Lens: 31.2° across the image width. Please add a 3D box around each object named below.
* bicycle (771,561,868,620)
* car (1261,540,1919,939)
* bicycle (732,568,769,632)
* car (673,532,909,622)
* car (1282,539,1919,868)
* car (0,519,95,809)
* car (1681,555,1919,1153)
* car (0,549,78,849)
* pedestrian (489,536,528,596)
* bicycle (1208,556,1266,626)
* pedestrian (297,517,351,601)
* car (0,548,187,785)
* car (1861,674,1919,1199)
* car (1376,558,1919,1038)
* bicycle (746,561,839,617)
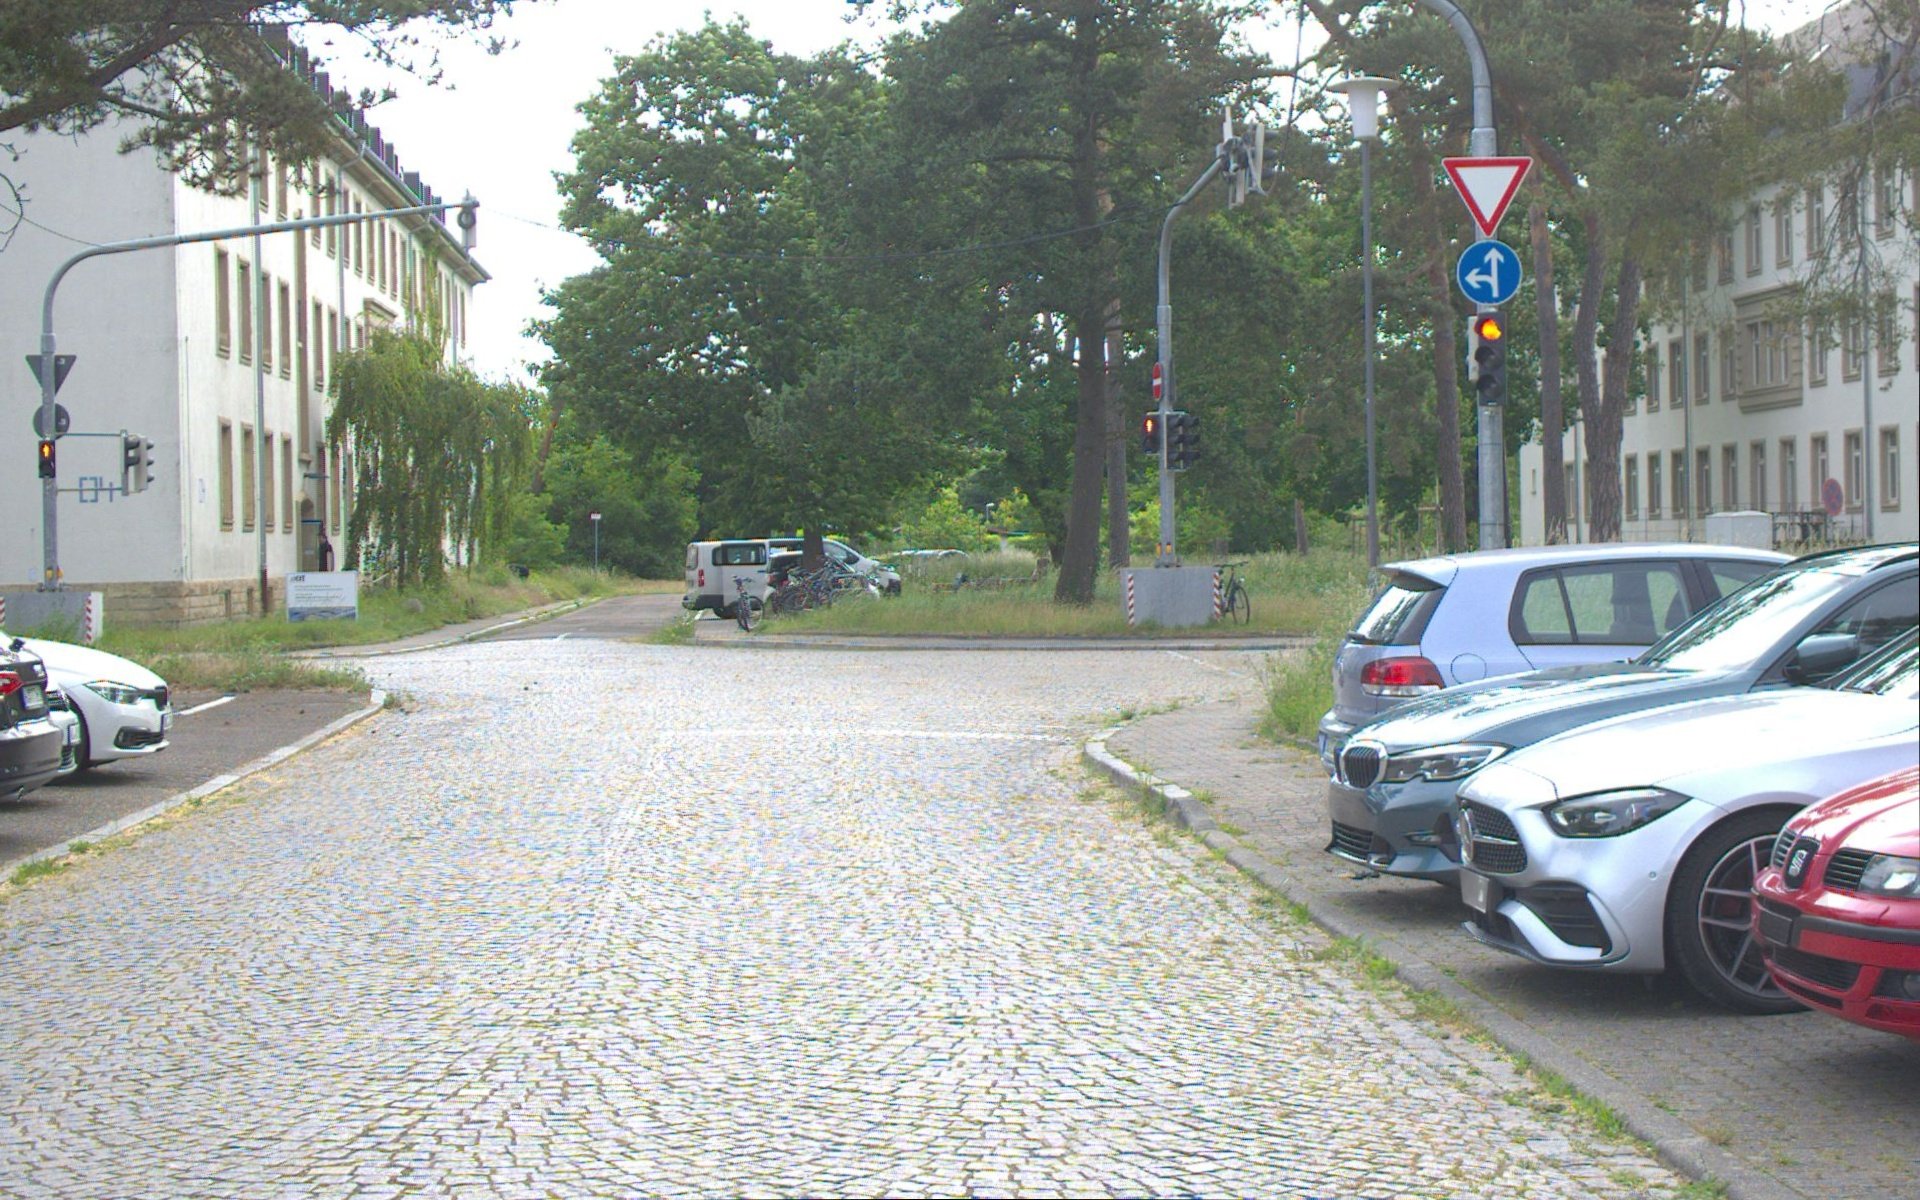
[{"bbox_3d":[-2.829,-0.191,69.106,1.881,1.167,0.665,1,0,-8],"label":"bicycle"},{"bbox_3d":[3.591,0.505,14.692,4.227,1.474,1.710,-2,1,-14],"label":"car"},{"bbox_3d":[-3.914,-0.013,64.410,0.663,1.167,1.888,1,1,-3],"label":"bicycle"},{"bbox_3d":[-4.138,-0.584,83.861,5.374,2.094,2.179,-1,1,-15],"label":"car"},{"bbox_3d":[3.845,0.456,17.262,4.134,1.458,1.634,-2,1,-8],"label":"car"},{"bbox_3d":[-7.633,0.430,21.143,4.297,1.726,1.653,-2,1,-8],"label":"car"},{"bbox_3d":[4.286,0.576,9.592,4.104,1.471,1.685,-2,1,-5],"label":"car"},{"bbox_3d":[-7.032,0.560,18.366,4.297,1.548,1.812,-2,1,-9],"label":"car"},{"bbox_3d":[-14.840,-1.104,112.949,1.239,1.952,1.121,1,0,-8],"label":"pedestrian"},{"bbox_3d":[4.360,-0.151,54.188,0.663,1.047,1.888,1,1,-3],"label":"bicycle"},{"bbox_3d":[-14.978,-0.975,80.992,1.074,1.952,1.121,1,0,-3],"label":"pedestrian"},{"bbox_3d":[-7.588,0.477,23.604,4.297,1.548,1.812,-2,1,-9],"label":"car"},{"bbox_3d":[3.926,0.748,7.229,3.586,1.218,1.629,-2,1,-2],"label":"car"},{"bbox_3d":[3.736,0.572,11.929,4.184,1.432,1.756,-2,1,-10],"label":"car"},{"bbox_3d":[-3.541,-0.235,72.571,1.881,1.167,0.665,1,0,-8],"label":"bicycle"}]
